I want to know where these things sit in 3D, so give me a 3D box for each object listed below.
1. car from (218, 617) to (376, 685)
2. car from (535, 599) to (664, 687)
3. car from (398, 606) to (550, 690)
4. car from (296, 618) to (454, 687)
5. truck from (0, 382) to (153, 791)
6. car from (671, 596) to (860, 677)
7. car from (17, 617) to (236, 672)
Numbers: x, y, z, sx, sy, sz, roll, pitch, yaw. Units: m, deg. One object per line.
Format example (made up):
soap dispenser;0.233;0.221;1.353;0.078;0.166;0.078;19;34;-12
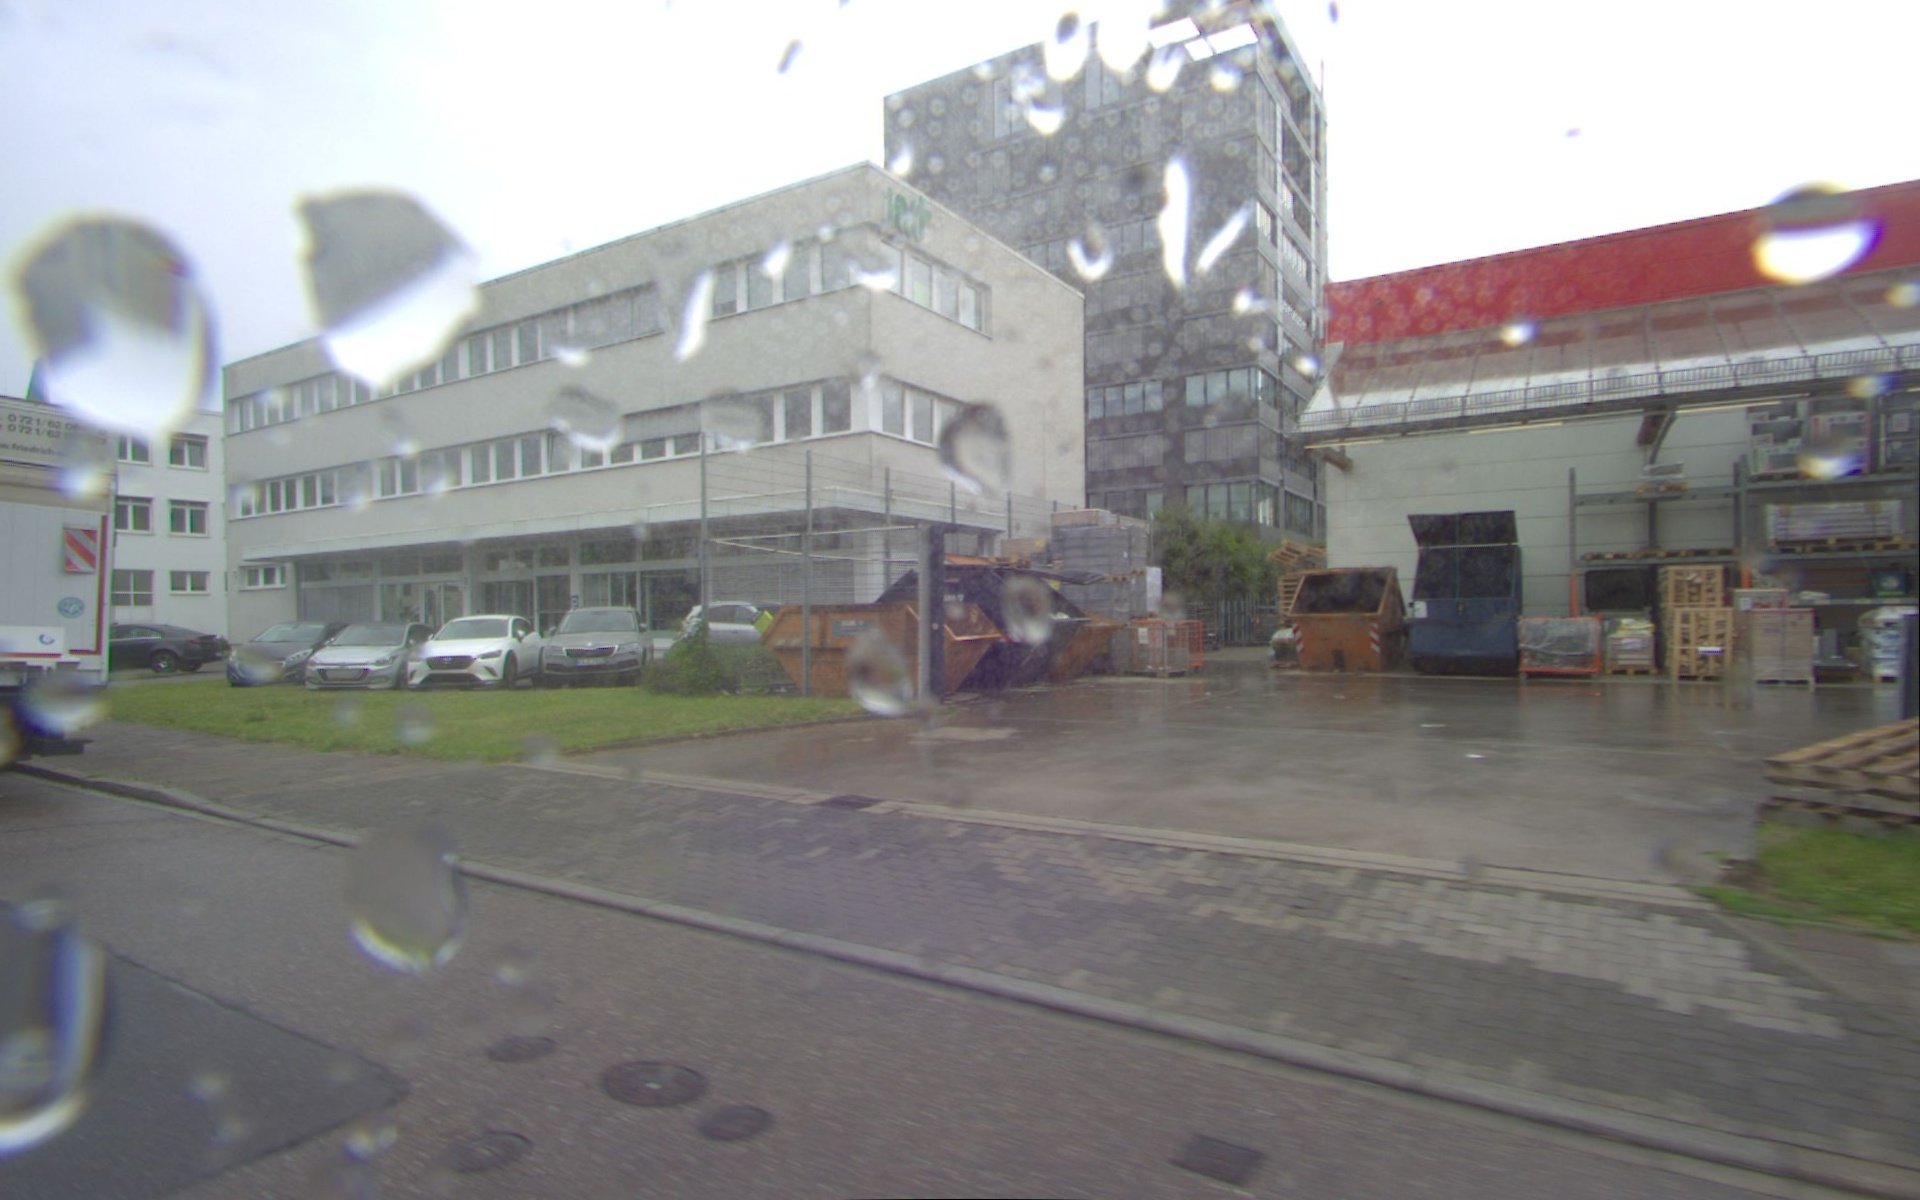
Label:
car;-15.014;1.096;22.911;1.675;1.411;3.765;0;-1;-11
car;-7.034;0.796;19.932;1.838;1.547;3.997;0;-1;-11
car;-9.556;0.894;20.026;1.742;1.489;3.997;0;-1;-11
car;-12.392;1.051;21.492;1.675;1.303;3.997;0;-1;-11
truck;-12.933;-0.066;11.739;9.171;3.836;2.736;-1;-3;34
car;-4.555;0.814;23.336;4.085;1.728;1.989;-1;-1;33
car;-24.428;1.262;29.568;4.595;1.487;1.787;0;0;-19
